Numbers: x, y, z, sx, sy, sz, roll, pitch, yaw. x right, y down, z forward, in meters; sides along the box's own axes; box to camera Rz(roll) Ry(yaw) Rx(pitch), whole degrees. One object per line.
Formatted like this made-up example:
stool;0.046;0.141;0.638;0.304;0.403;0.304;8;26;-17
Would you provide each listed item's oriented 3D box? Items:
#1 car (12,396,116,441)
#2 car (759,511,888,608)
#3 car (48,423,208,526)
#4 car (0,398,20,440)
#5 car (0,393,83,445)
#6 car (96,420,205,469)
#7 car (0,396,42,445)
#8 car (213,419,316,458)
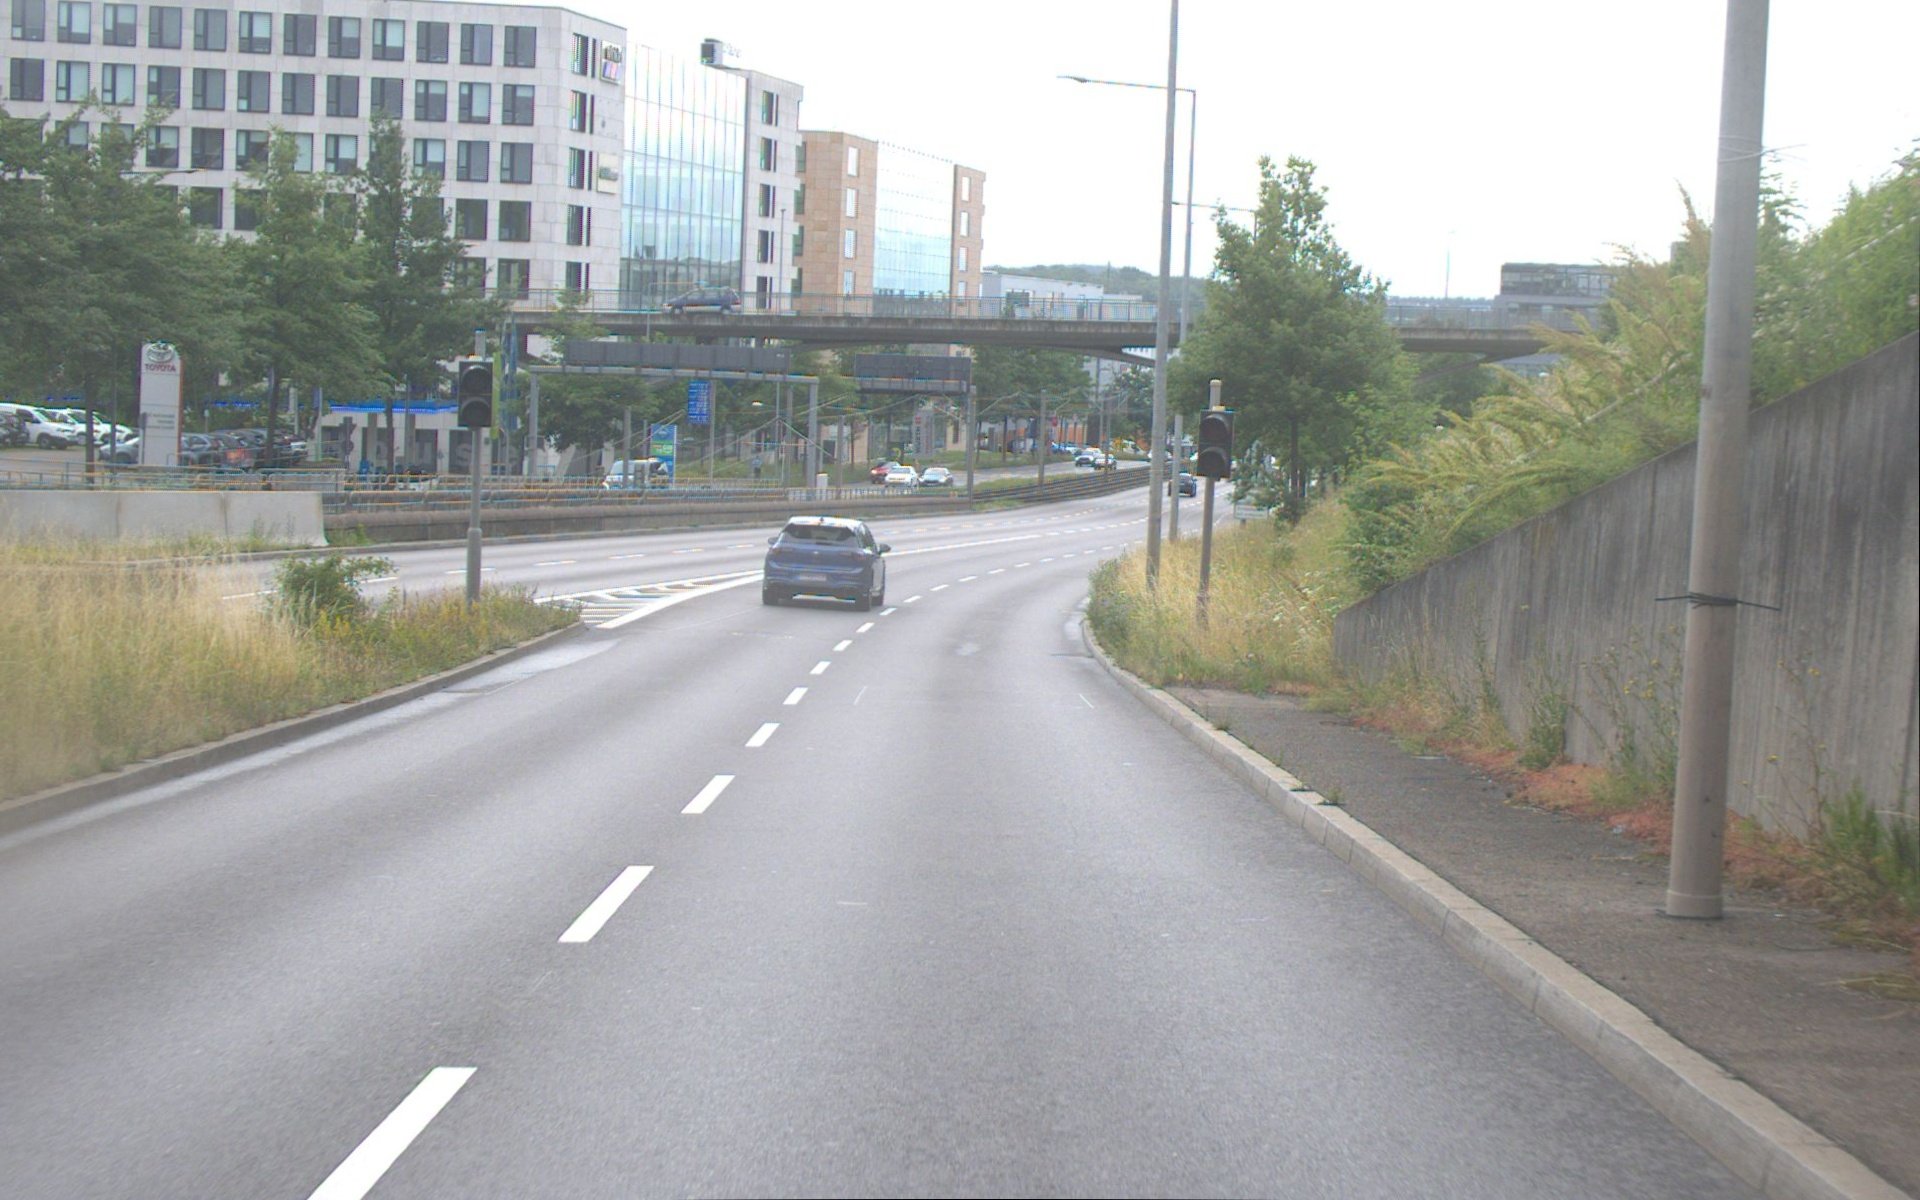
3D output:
car;-40.283;-8.156;154.544;3.990;1.645;1.999;6;5;13
car;-2.209;-0.682;56.336;1.749;1.415;3.478;0;3;4
car;-15.153;-2.314;62.750;1.688;1.584;3.549;5;5;5
car;-41.764;-7.713;144.211;3.988;1.645;2.000;5;5;6
car;-40.411;-7.866;149.132;3.990;1.869;1.999;6;5;13
car;-33.083;-6.347;140.437;3.986;1.645;2.001;4;3;-22
car;-41.596;-7.754;146.894;3.989;2.006;1.999;4;2;13
car;-30.912;-7.172;152.786;3.989;1.349;1.849;5;3;10
